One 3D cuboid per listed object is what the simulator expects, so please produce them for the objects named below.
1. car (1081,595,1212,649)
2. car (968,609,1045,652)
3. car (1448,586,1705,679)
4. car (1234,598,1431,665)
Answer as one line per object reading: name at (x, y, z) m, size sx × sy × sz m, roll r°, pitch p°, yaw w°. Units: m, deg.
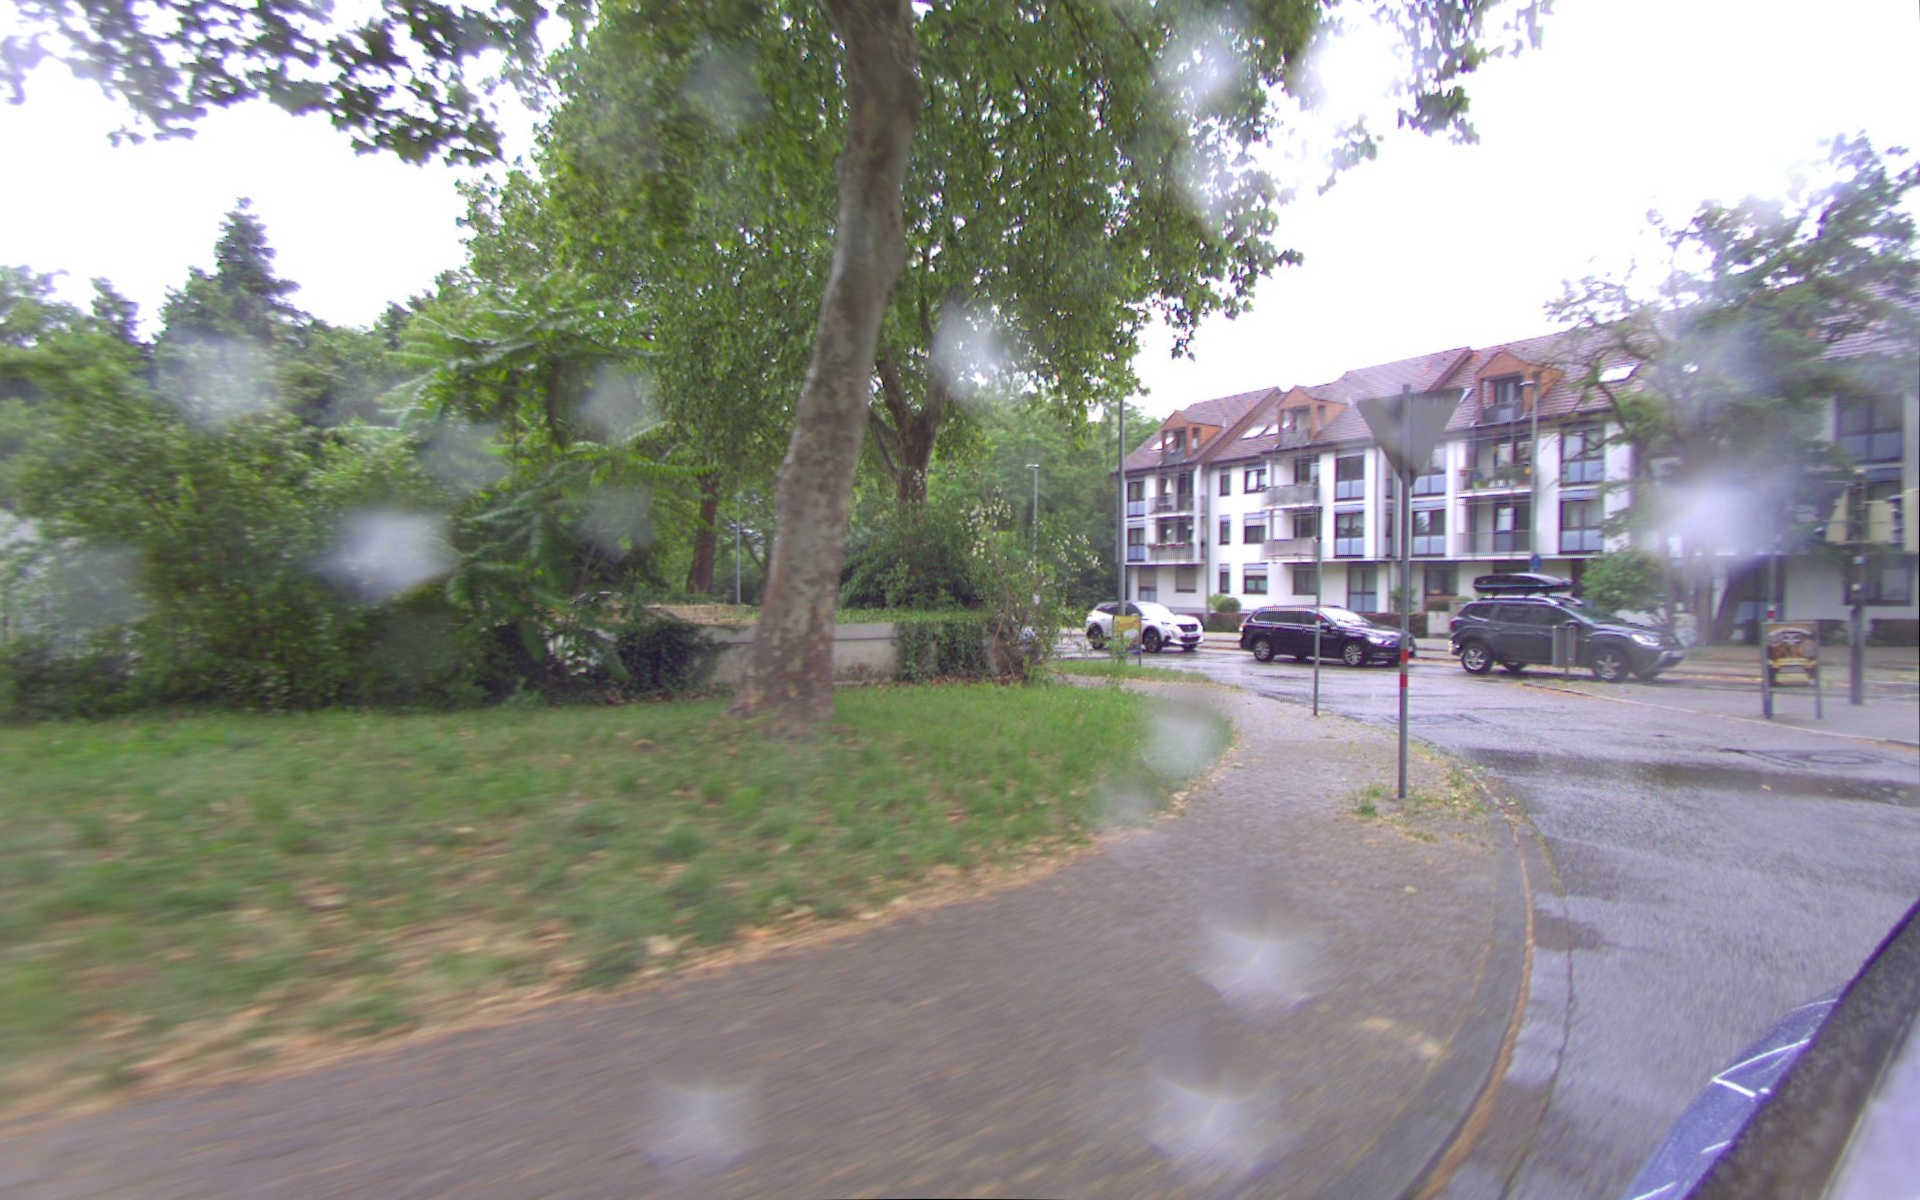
car at (5.831, 0.650, 32.086) m, size 1.635 × 1.564 × 4.173 m, roll -2°, pitch 1°, yaw -34°
car at (0.857, 0.549, 18.884) m, size 0.698 × 0.731 × 1.538 m, roll 0°, pitch 0°, yaw -31°
car at (12.609, 0.597, 20.964) m, size 1.678 × 1.708 × 4.228 m, roll -1°, pitch 0°, yaw -35°
car at (9.361, 0.732, 25.798) m, size 1.581 × 1.464 × 4.625 m, roll -3°, pitch 2°, yaw -35°
